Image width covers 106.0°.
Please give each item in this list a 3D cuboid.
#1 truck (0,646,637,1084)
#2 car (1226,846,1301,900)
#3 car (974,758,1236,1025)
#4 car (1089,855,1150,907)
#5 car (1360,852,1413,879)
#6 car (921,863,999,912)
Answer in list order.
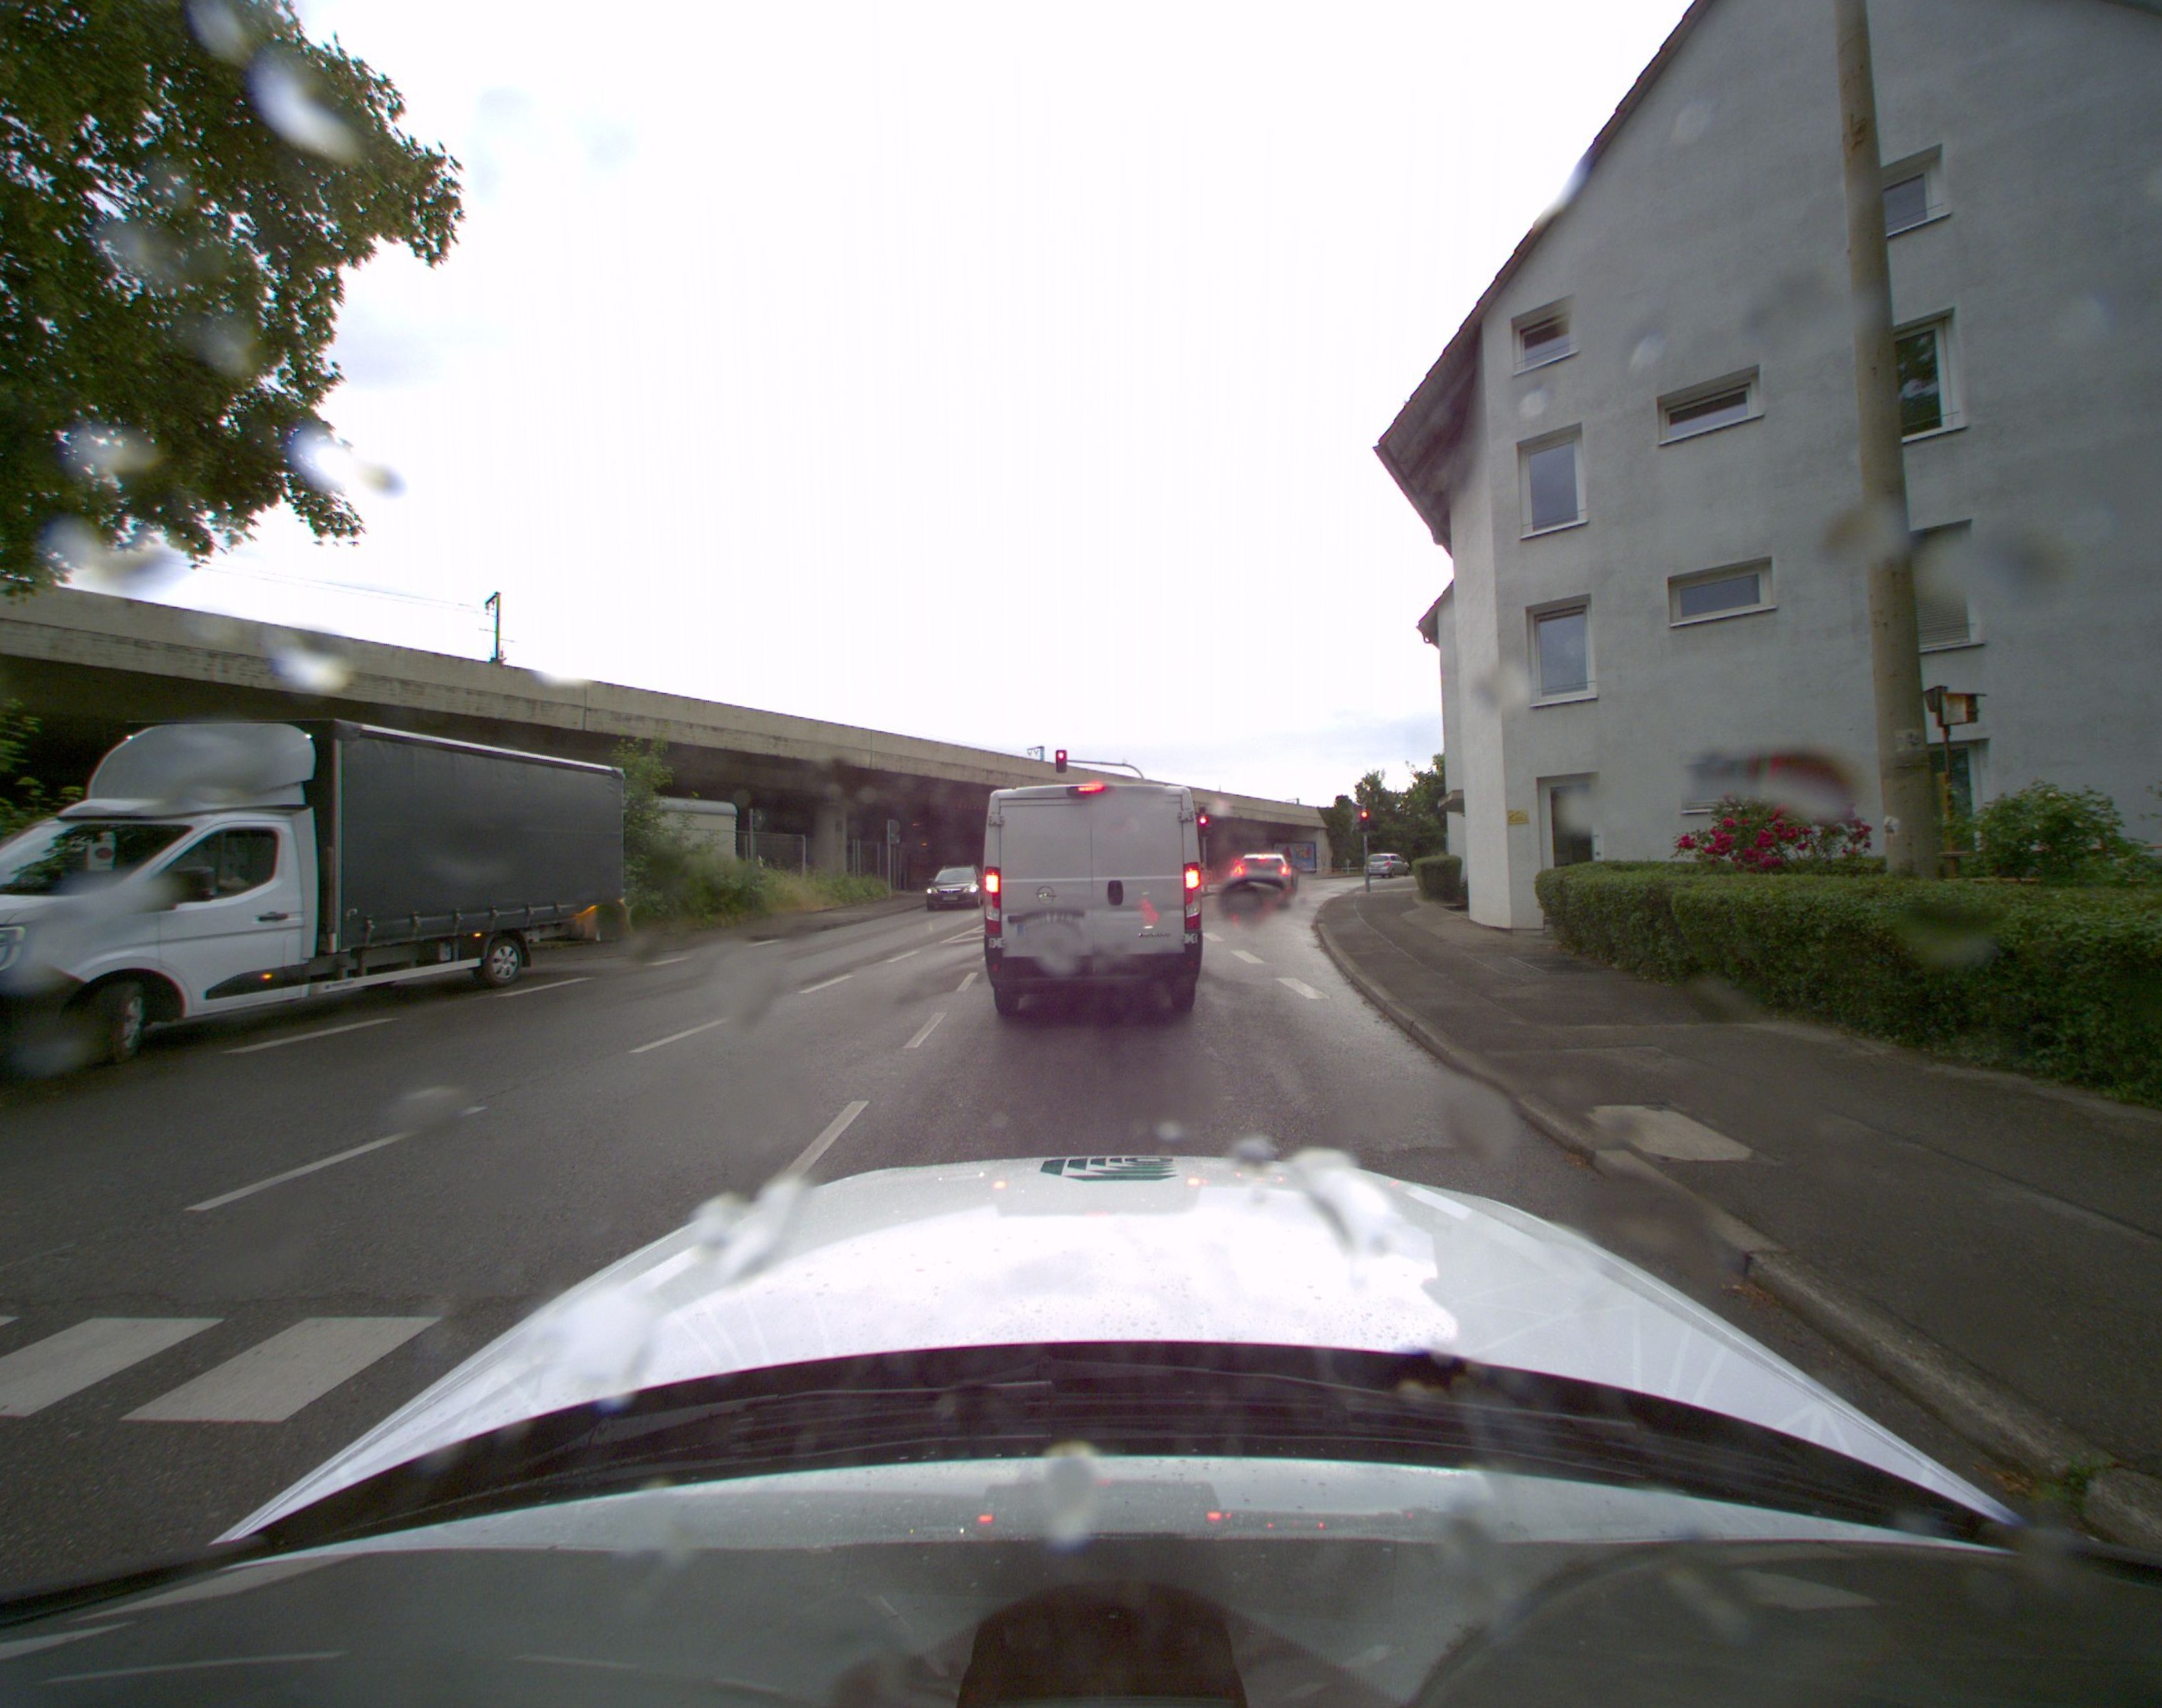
[{"bbox_3d":[-9.030,0.163,9.867,2.599,3.237,7.783,-1,-1,4],"label":"truck"},{"bbox_3d":[5.858,0.608,25.820,1.978,1.549,4.017,-2,-2,17],"label":"car"},{"bbox_3d":[0.311,0.369,9.875,2.296,2.343,5.284,-1,-1,2],"label":"car"},{"bbox_3d":[1.468,0.979,29.533,1.984,1.729,4.005,-1,-2,5],"label":"car"},{"bbox_3d":[18.706,0.720,49.751,1.974,1.554,4.025,-2,-2,37],"label":"car"},{"bbox_3d":[-4.192,1.121,28.960,1.834,1.569,4.416,-1,-1,3],"label":"car"}]
